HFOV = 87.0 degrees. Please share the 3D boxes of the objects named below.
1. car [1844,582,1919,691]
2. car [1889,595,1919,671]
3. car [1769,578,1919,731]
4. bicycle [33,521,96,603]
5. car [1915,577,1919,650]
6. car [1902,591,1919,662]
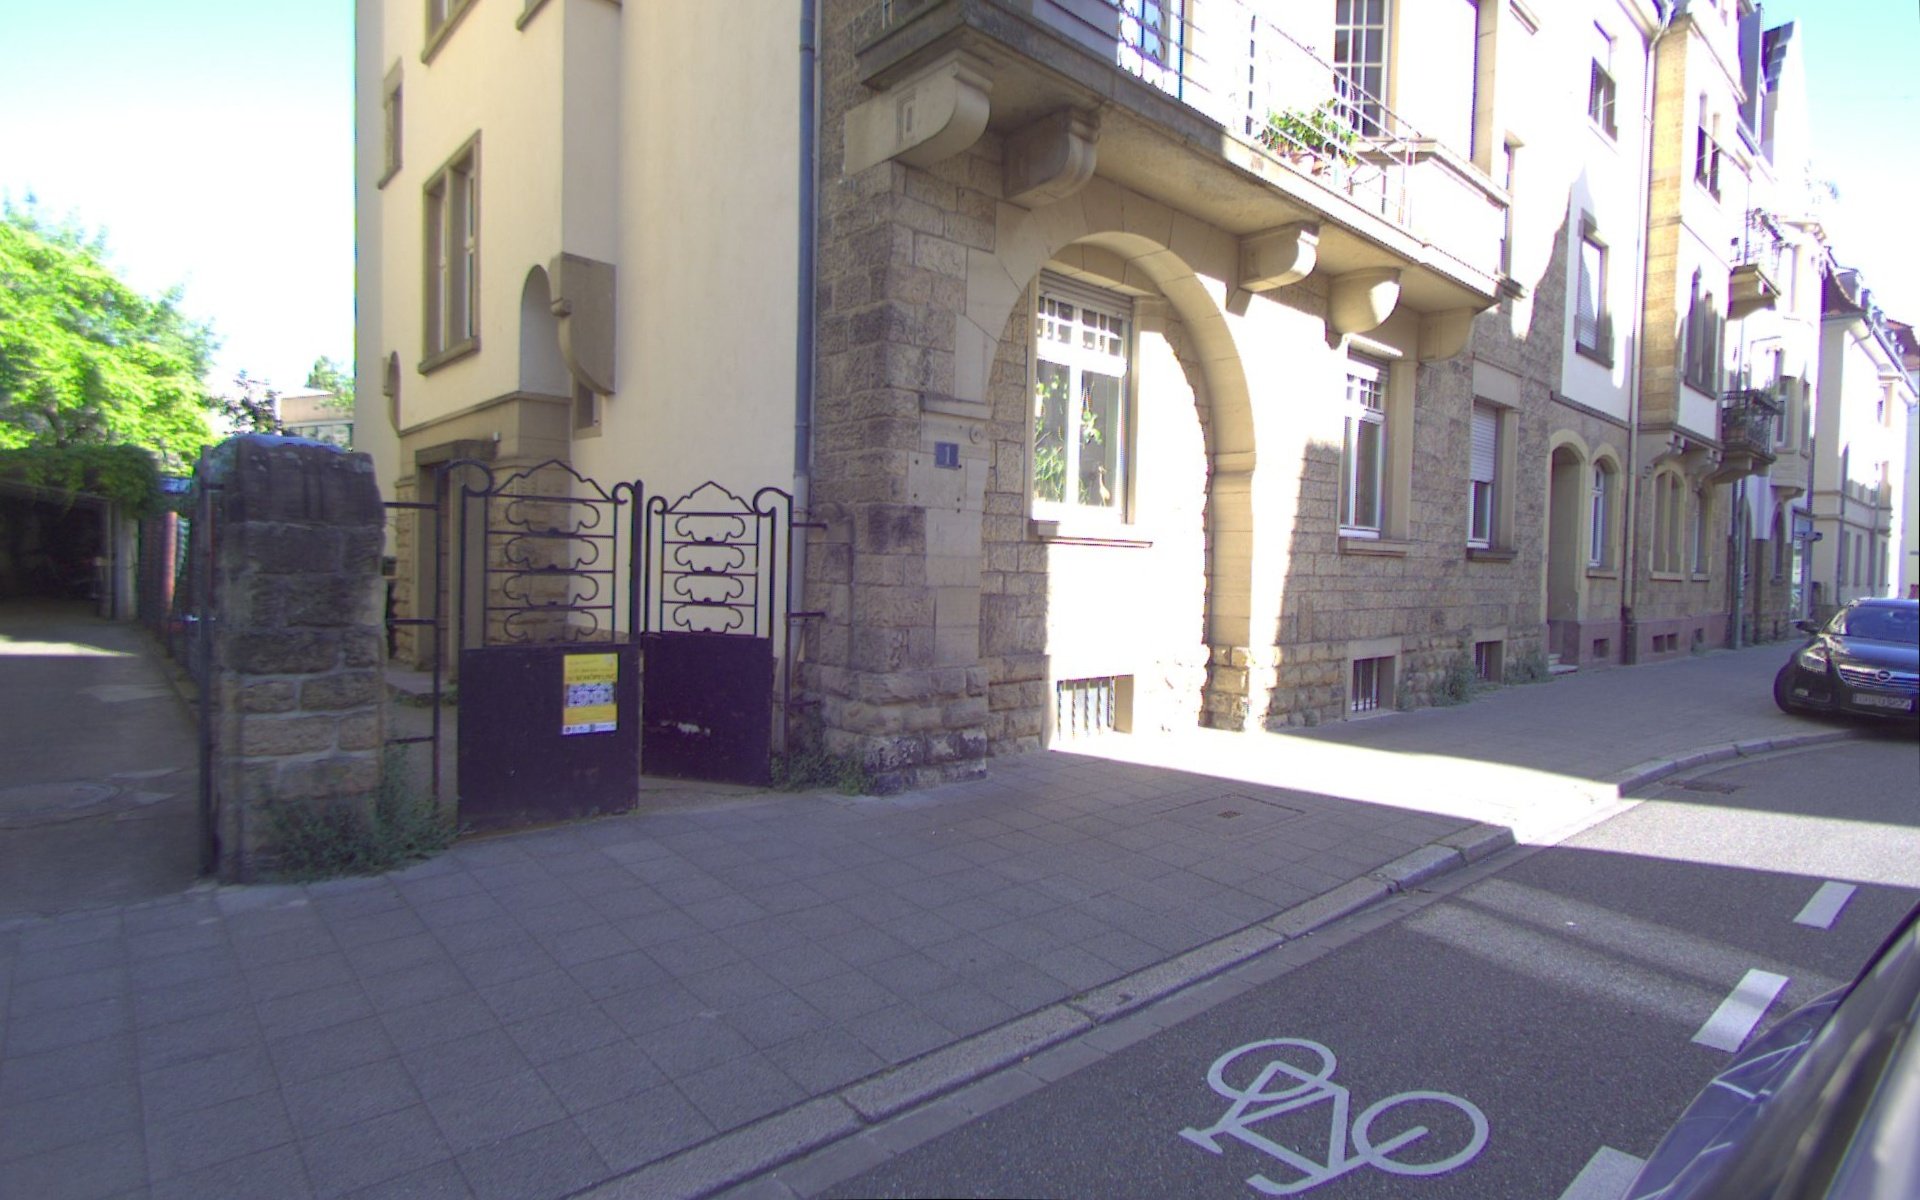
[{"bbox_3d":[15.531,0.566,15.865,4.247,1.527,2.004,0,3,-42],"label":"car"},{"bbox_3d":[18.794,0.619,18.969,3.667,1.295,1.659,-1,4,-42],"label":"car"},{"bbox_3d":[11.477,0.568,12.176,4.043,1.526,2.023,-1,5,-42],"label":"car"},{"bbox_3d":[-18.302,-0.810,20.723,0.903,1.530,2.672,0,4,-41],"label":"bicycle"},{"bbox_3d":[26.233,0.336,26.048,4.247,1.860,2.004,-1,4,-42],"label":"car"},{"bbox_3d":[22.171,0.582,22.191,4.247,1.440,1.823,-1,4,-42],"label":"car"}]
